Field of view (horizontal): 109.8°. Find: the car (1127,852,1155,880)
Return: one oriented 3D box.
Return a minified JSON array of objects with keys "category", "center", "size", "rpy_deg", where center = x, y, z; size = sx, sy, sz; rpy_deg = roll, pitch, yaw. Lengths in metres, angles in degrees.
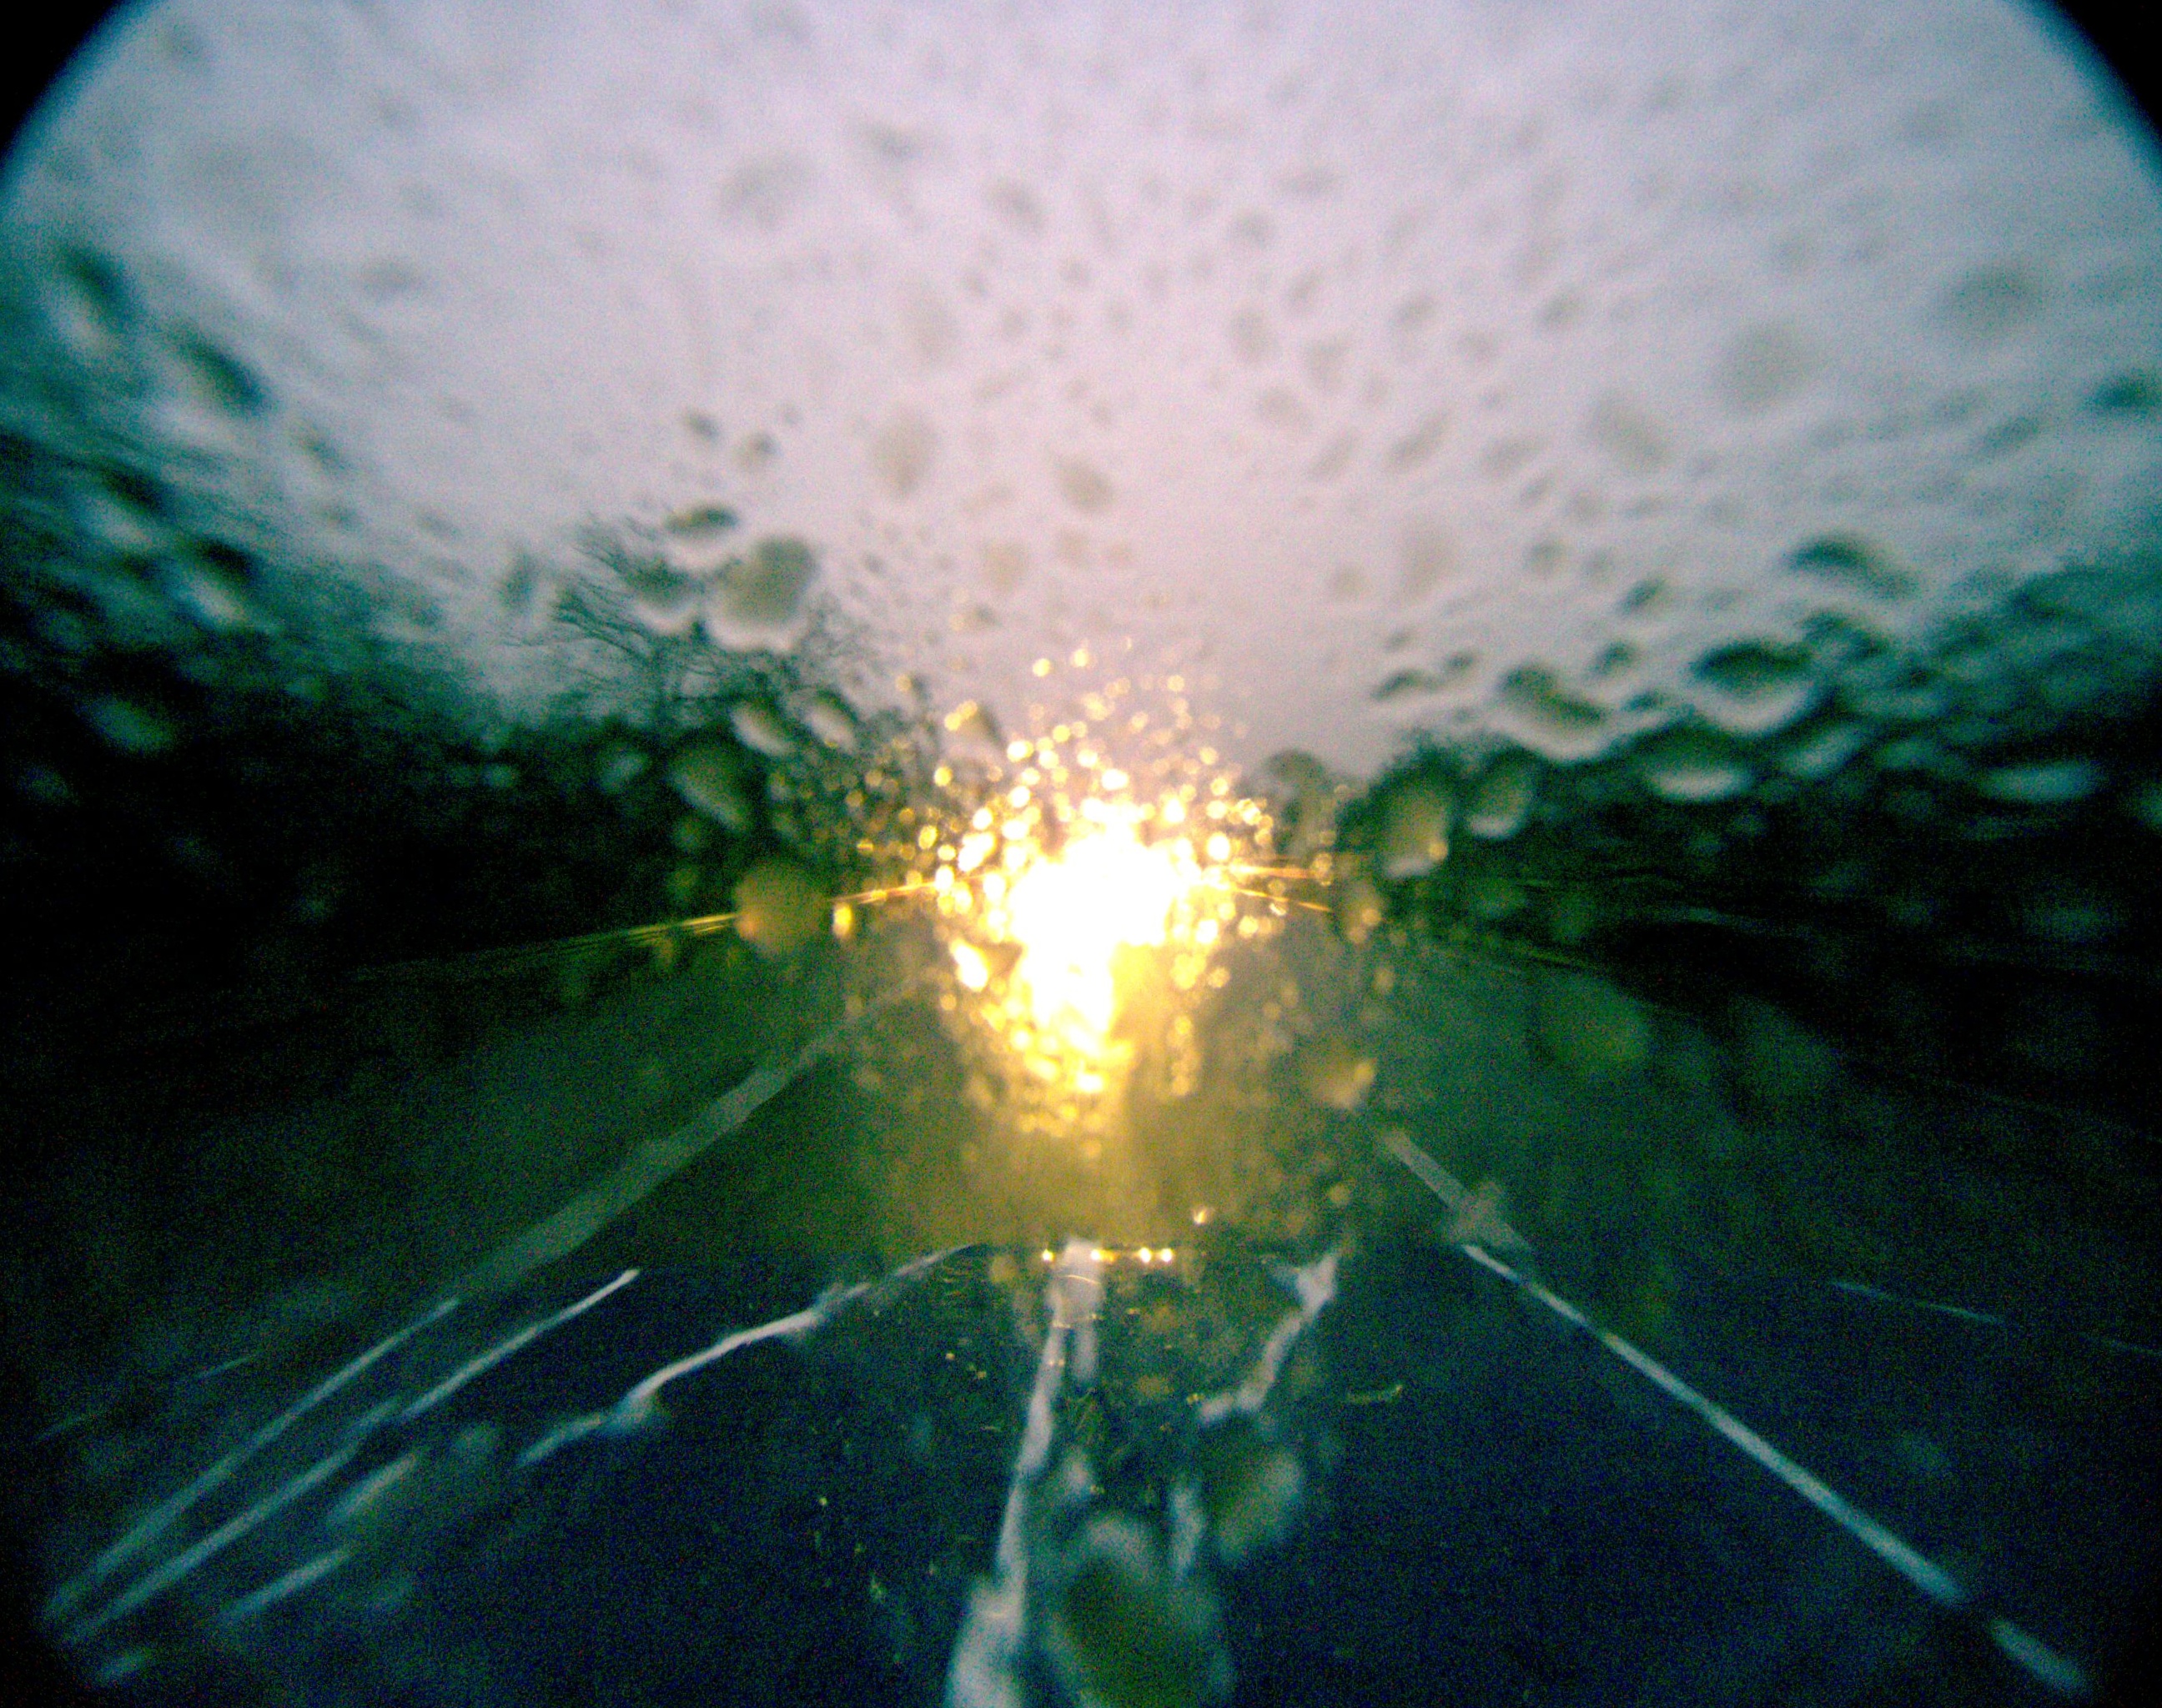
[{"category":"car","center":[4.449,0.848,56.665],"size":[1.766,1.922,4.000],"rpy_deg":[-2,0,1]}]

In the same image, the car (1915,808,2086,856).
[{"category":"car","center":[36.085,-0.819,29.924],"size":[2.003,1.701,3.991],"rpy_deg":[-2,0,-29]}]

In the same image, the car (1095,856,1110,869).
[{"category":"car","center":[2.674,1.025,93.909],"size":[1.741,1.441,4.001],"rpy_deg":[-2,0,3]}]

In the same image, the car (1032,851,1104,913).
[{"category":"car","center":[-0.336,0.842,24.876],"size":[1.928,1.781,3.942],"rpy_deg":[-2,0,5]}]
